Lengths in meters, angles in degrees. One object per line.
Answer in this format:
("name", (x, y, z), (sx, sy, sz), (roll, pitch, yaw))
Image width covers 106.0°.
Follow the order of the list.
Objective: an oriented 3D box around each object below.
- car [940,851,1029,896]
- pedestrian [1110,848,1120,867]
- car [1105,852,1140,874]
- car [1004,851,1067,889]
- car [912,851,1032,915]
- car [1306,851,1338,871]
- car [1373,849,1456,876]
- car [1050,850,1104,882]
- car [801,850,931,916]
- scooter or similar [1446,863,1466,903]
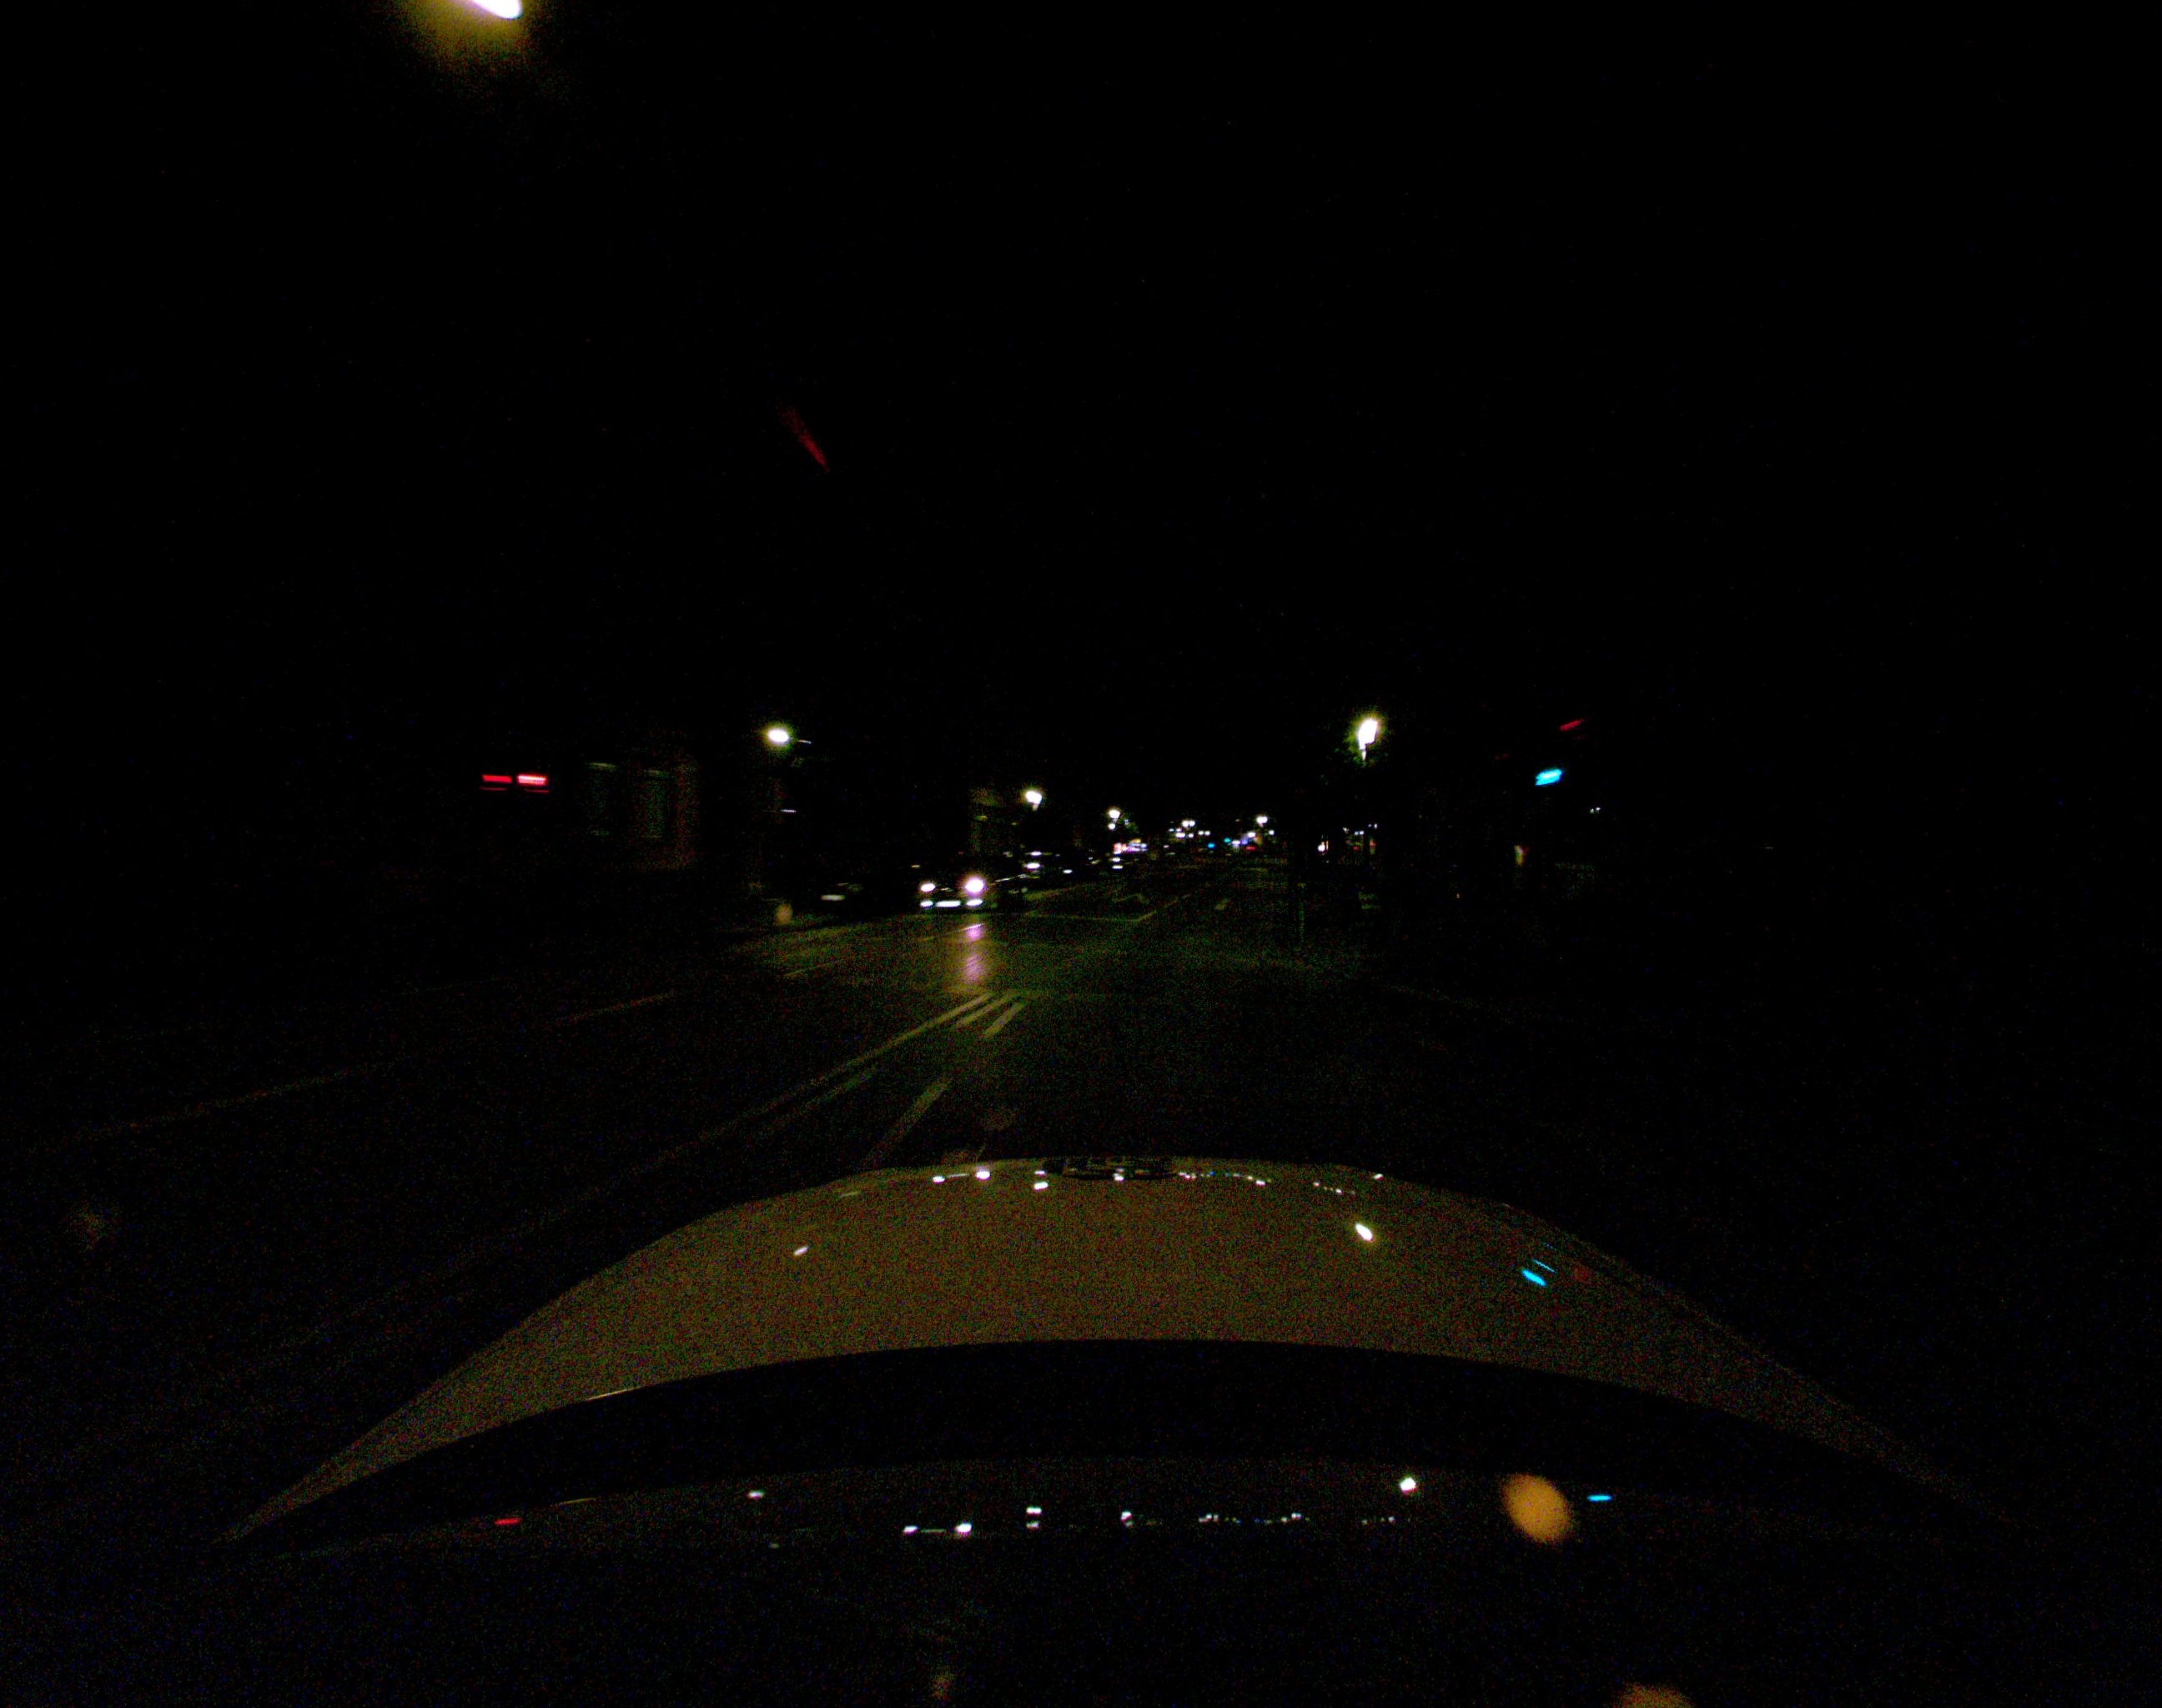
("car", (-3.529, 0.673, 30.600), (1.771, 1.491, 4.347), (2, 1, 15))
("pedestrian", (3.450, 0.354, 82.008), (0.728, 1.822, 0.685), (1, -1, -33))
("car", (2.937, 0.589, 56.324), (1.773, 1.415, 4.140), (1, 1, 12))
("car", (-1.945, 0.649, 36.057), (1.773, 1.491, 4.013), (2, 1, 12))
("car", (-2.709, 0.686, 21.232), (1.703, 1.429, 4.015), (-2, 0, 14))
("car", (18.243, 0.495, 61.723), (1.723, 1.459, 4.740), (0, 0, 9))
("car", (19.552, 0.493, 47.986), (4.391, 1.459, 1.798), (-2, 1, 18))
("car", (-0.169, 0.585, 44.024), (1.771, 1.581, 4.429), (2, 1, 15))
("car", (-5.652, 0.699, 21.844), (1.580, 1.491, 3.717), (2, 2, 18))
("scooter or similar", (11.478, 0.871, 24.927), (0.418, 1.130, 1.501), (-2, 0, 21))
